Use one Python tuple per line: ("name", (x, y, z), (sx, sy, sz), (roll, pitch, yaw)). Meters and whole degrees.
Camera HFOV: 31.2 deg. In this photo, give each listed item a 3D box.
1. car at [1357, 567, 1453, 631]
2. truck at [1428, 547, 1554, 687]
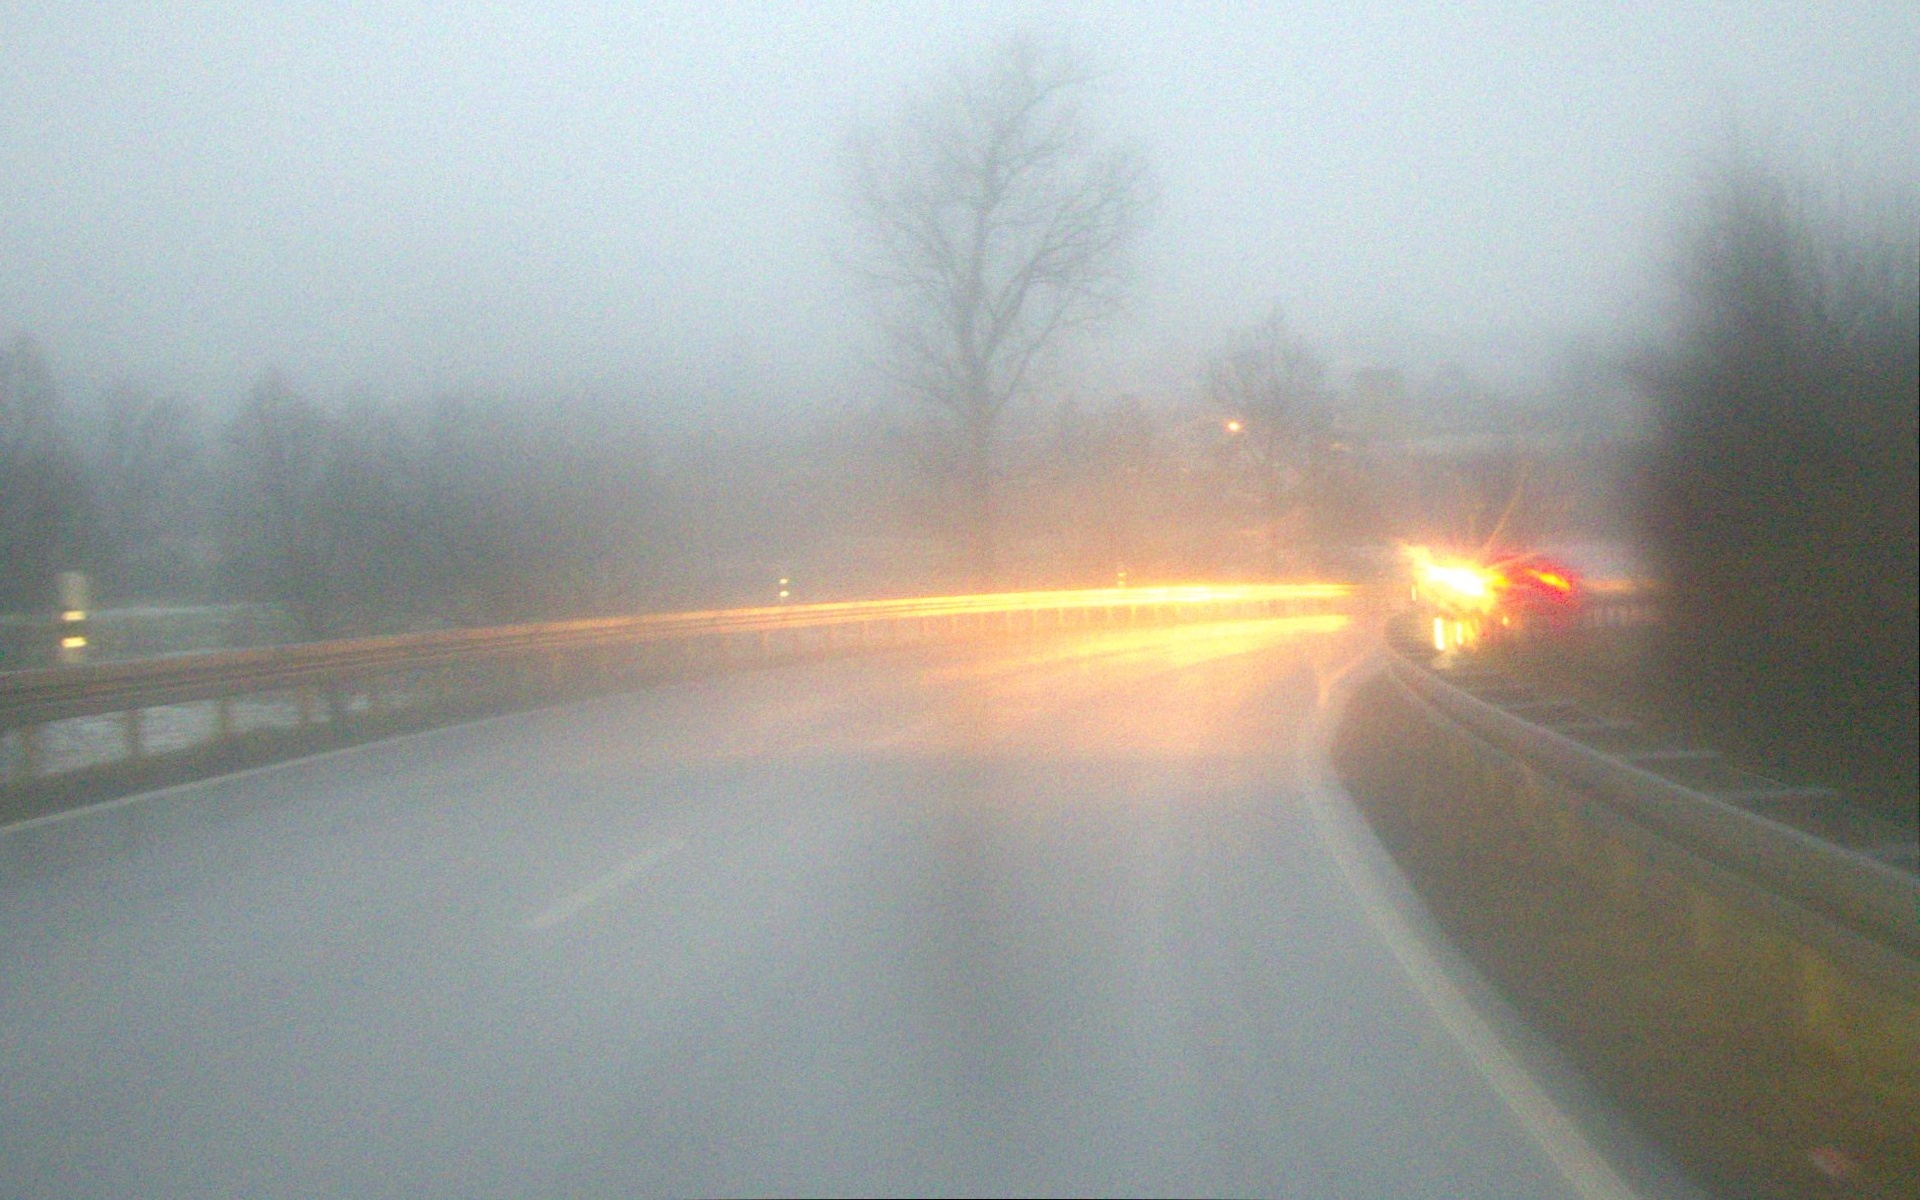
("car", (11.894, -0.052, 91.599), (2.012, 1.629, 4.870), (0, 1, 14))
("truck", (12.494, 0.335, 81.272), (2.532, 2.859, 5.921), (4, 3, 7))
